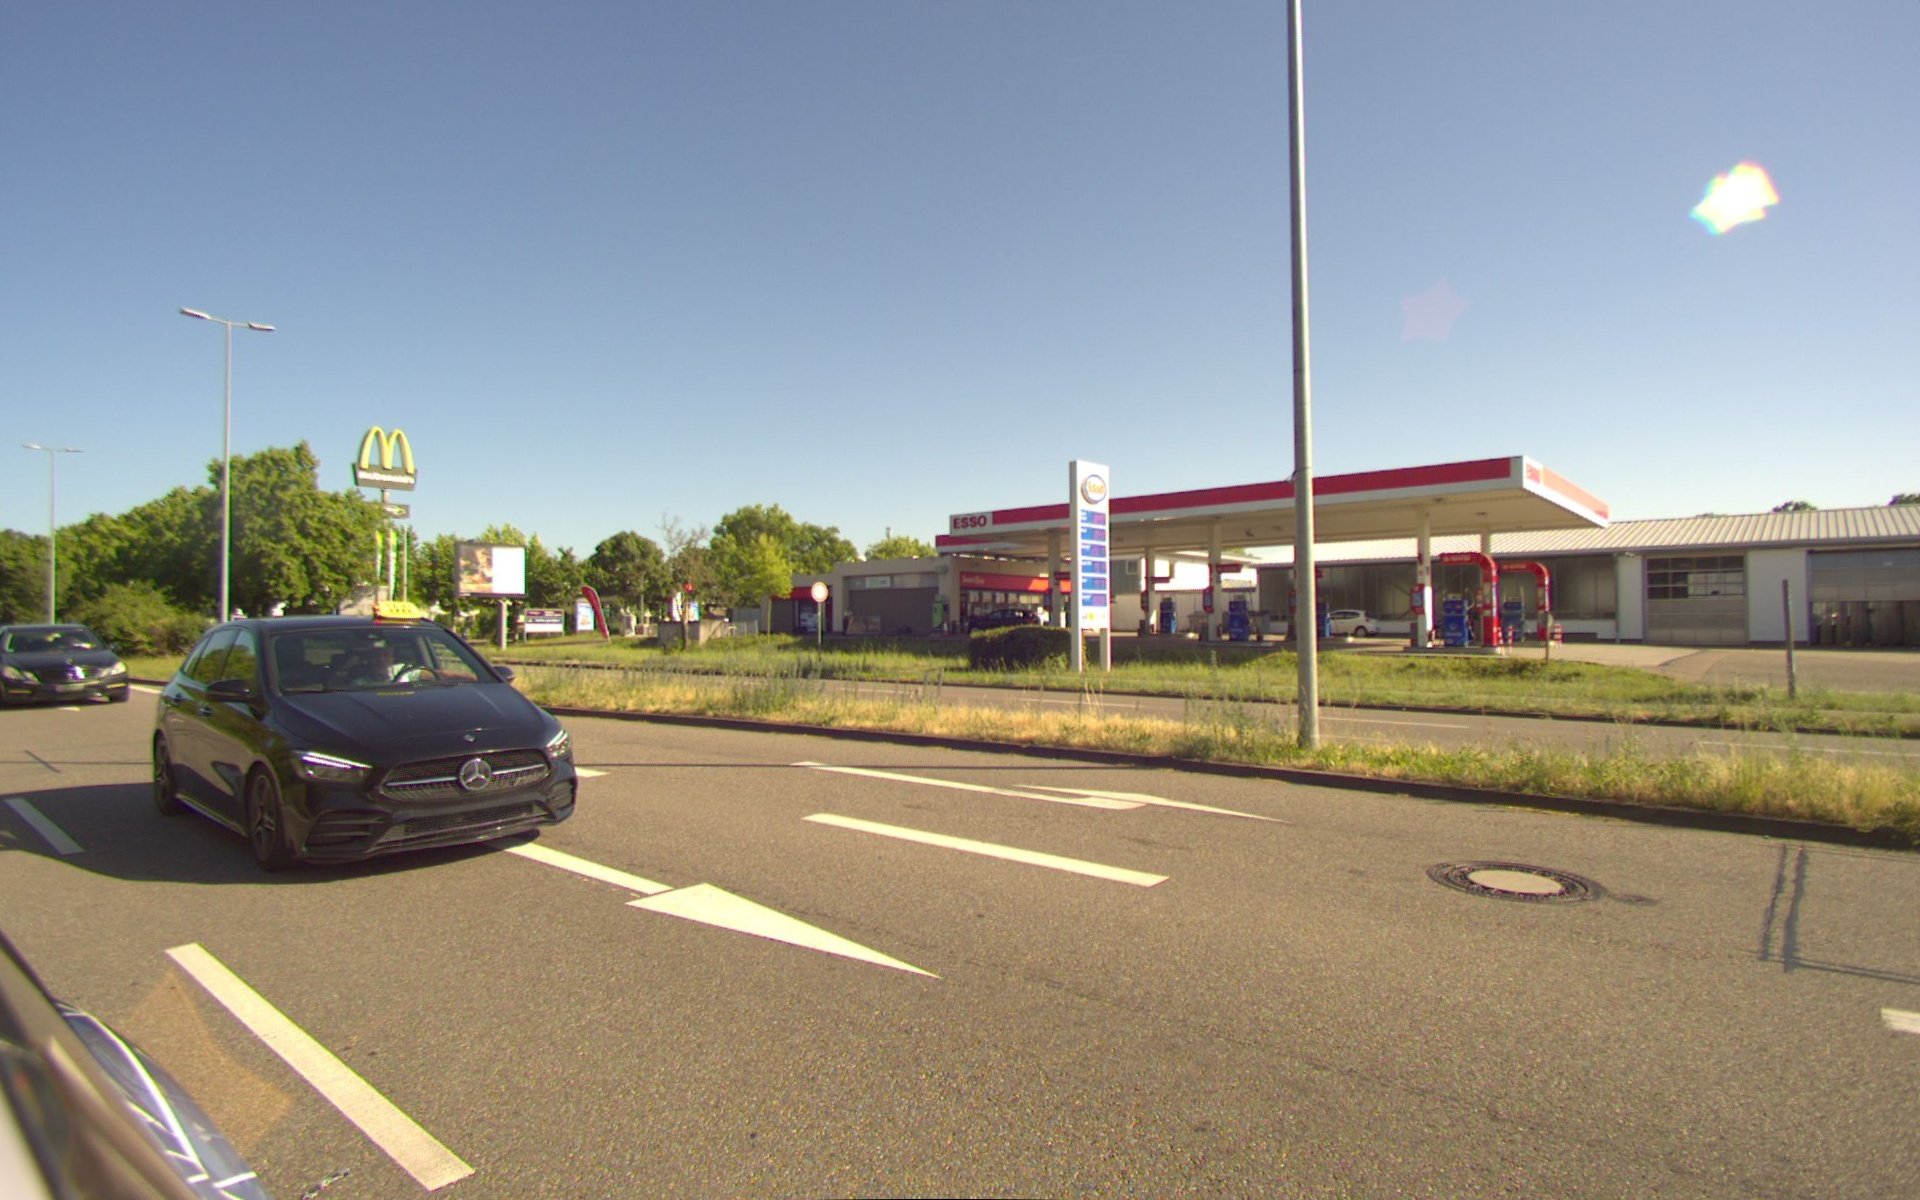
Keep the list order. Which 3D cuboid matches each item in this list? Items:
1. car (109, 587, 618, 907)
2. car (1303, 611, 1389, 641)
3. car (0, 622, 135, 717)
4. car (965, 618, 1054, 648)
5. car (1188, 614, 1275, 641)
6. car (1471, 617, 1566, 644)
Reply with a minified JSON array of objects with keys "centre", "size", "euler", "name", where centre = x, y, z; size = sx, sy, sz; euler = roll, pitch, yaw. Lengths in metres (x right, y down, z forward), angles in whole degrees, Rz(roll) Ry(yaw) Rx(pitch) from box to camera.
[{"centre":[-4.500,0.795,7.283],"size":[4.580,1.614,1.765],"euler":[-2,-1,40],"name":"car"},{"centre":[20.687,1.363,54.327],"size":[3.855,1.500,1.973],"euler":[-1,0,41],"name":"car"},{"centre":[-17.264,1.218,19.079],"size":[4.461,1.521,1.927],"euler":[-1,0,41],"name":"car"},{"centre":[2.416,1.629,49.797],"size":[3.998,1.416,1.973],"euler":[-2,-2,41],"name":"car"},{"centre":[15.850,1.591,59.184],"size":[4.540,1.477,1.973],"euler":[-1,0,41],"name":"car"},{"centre":[26.924,1.442,48.821],"size":[3.729,1.196,1.658],"euler":[-1,0,41],"name":"car"}]
